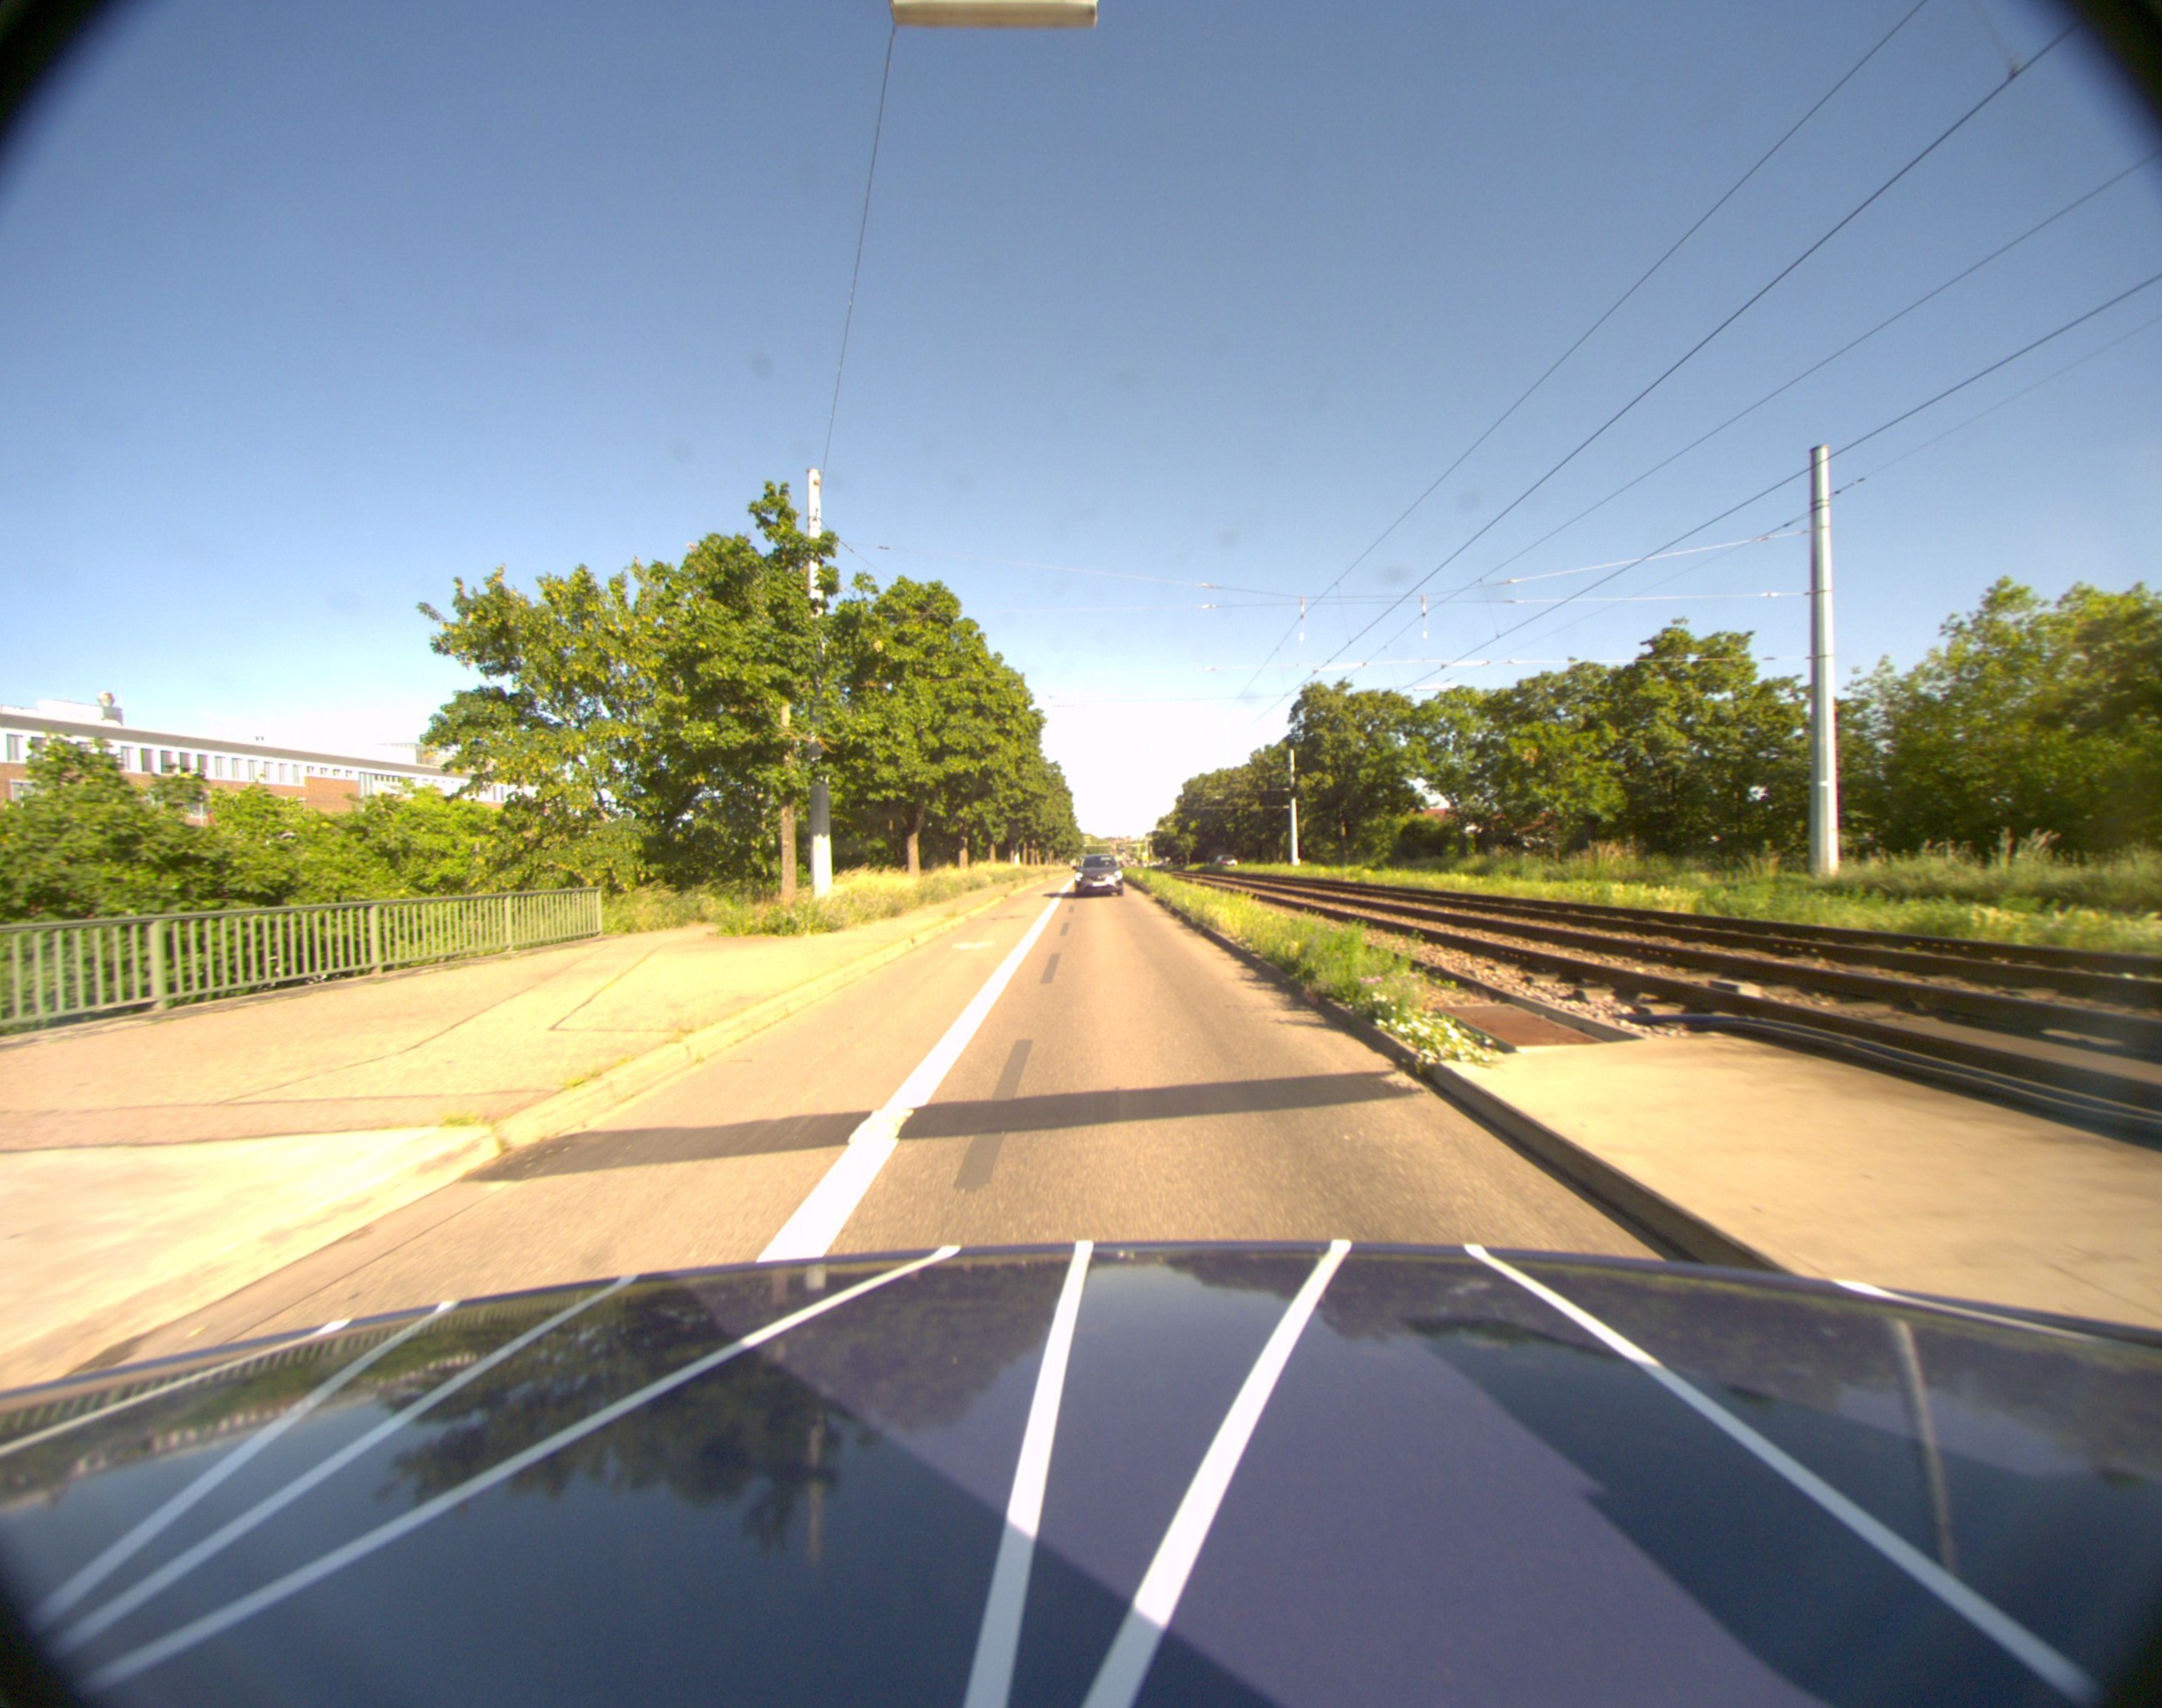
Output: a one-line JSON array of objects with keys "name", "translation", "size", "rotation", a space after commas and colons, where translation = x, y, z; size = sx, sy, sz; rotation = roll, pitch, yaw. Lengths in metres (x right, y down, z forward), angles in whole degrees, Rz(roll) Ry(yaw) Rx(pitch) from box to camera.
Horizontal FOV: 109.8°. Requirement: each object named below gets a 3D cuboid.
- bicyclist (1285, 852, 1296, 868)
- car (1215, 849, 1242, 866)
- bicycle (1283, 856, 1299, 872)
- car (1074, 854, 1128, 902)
[{"name": "bicyclist", "translation": [16.990, 0.473, 61.712], "size": [0.584, 1.302, 0.987], "rotation": [-3, 0, 1]}, {"name": "car", "translation": [14.587, 0.356, 75.322], "size": [1.814, 1.480, 4.407], "rotation": [-3, -1, 1]}, {"name": "bicycle", "translation": [17.004, 0.784, 61.604], "size": [0.591, 1.254, 2.427], "rotation": [-3, -1, 1]}, {"name": "car", "translation": [0.731, 0.806, 27.897], "size": [1.814, 1.625, 4.710], "rotation": [0, 0, 1]}]
